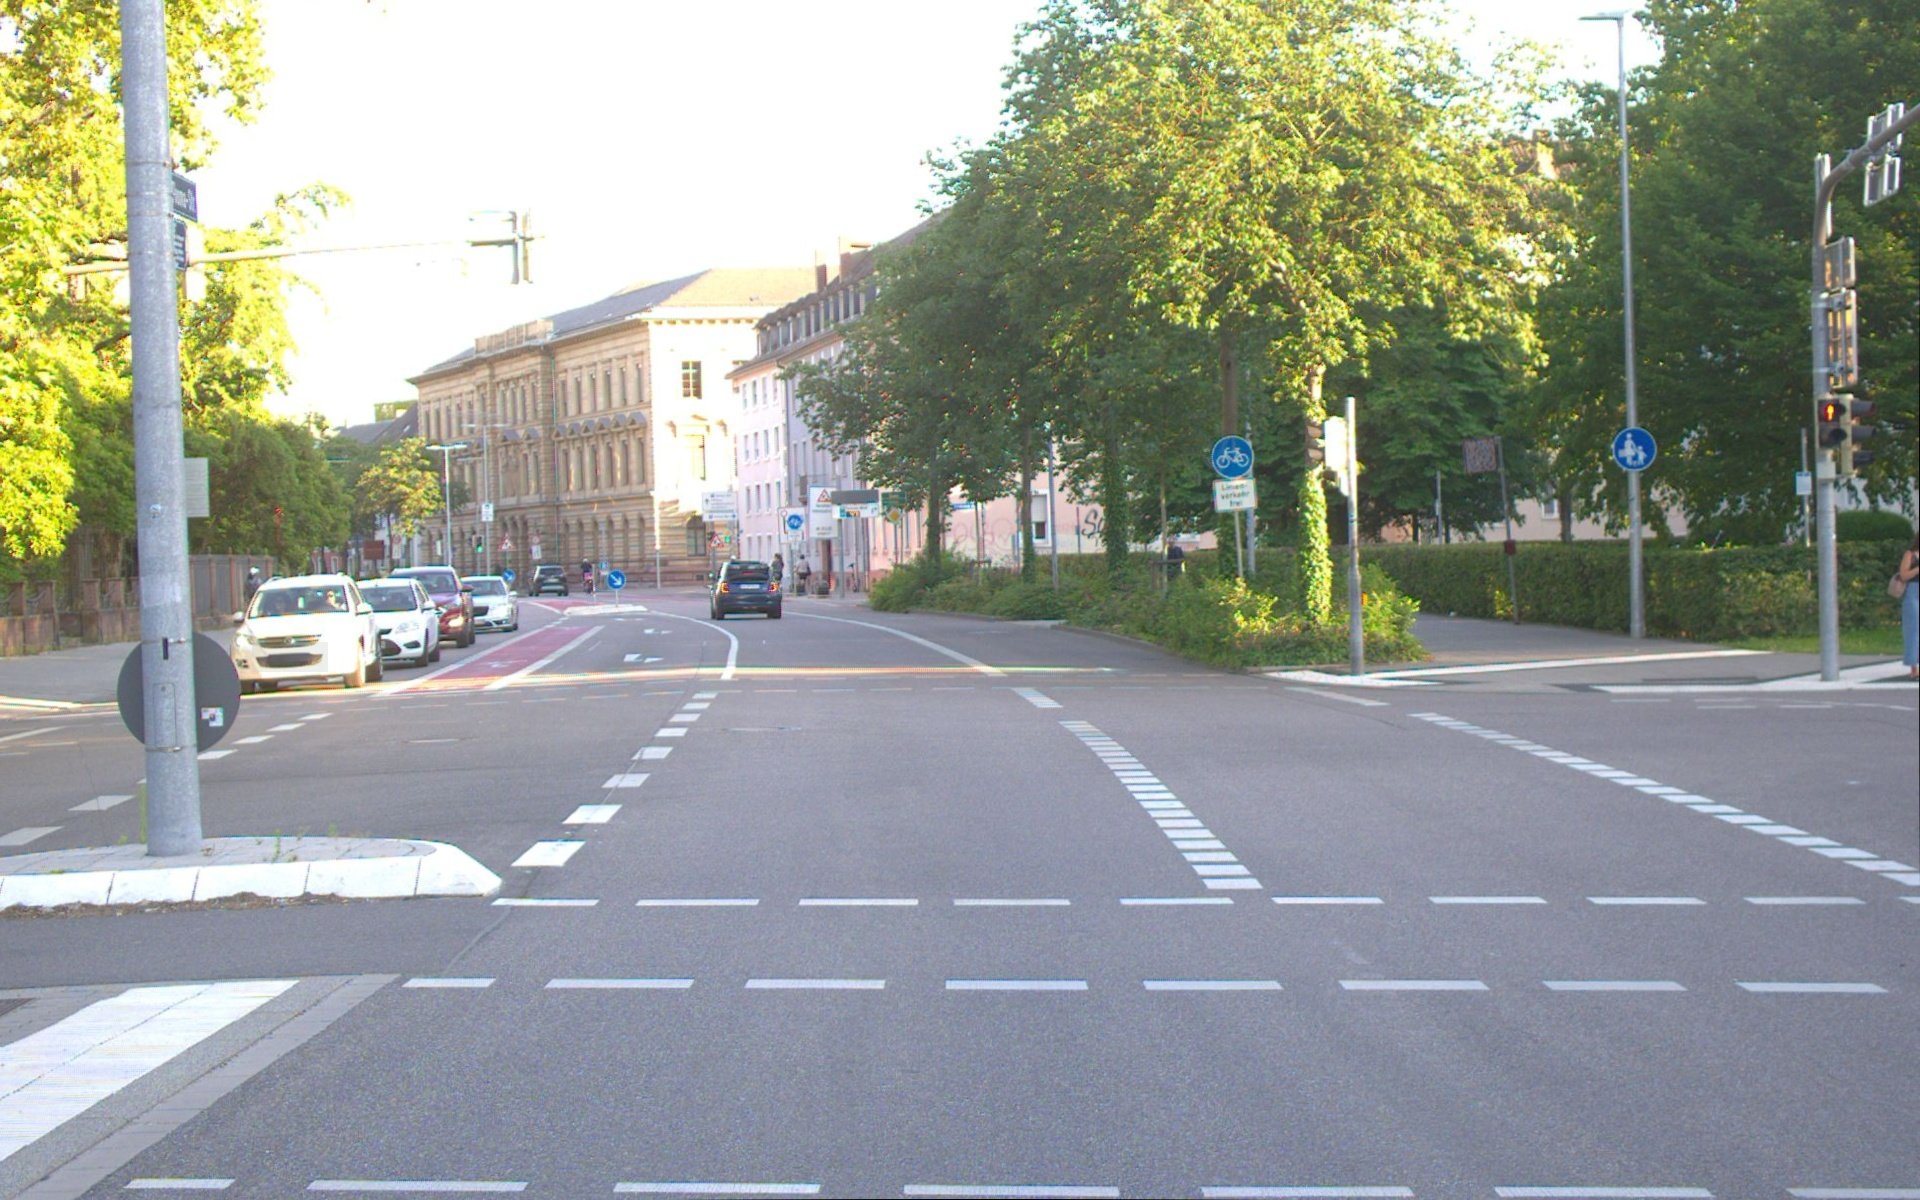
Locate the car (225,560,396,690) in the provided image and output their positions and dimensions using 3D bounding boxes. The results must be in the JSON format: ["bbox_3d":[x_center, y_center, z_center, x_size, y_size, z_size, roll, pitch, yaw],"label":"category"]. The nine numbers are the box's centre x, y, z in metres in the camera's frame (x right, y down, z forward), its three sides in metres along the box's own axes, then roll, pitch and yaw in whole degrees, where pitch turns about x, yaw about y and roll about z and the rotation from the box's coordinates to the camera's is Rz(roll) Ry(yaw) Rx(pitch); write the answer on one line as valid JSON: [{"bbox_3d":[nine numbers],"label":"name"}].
[{"bbox_3d":[-9.460,0.324,50.385,1.916,1.690,4.427,-3,1,-5],"label":"car"}]

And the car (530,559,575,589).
[{"bbox_3d":[-20.993,-1.327,176.884,1.916,1.413,4.771,-4,1,-10],"label":"car"}]

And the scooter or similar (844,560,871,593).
[{"bbox_3d":[-4.337,-0.990,145.353,0.629,1.332,2.401,-1,1,-14],"label":"scooter or similar"}]

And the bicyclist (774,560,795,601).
[{"bbox_3d":[-6.311,-0.715,123.690,0.652,1.470,0.941,1,0,-9],"label":"bicyclist"}]

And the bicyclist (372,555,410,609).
[{"bbox_3d":[-15.435,-0.498,93.310,0.855,1.426,0.943,-1,1,0],"label":"bicyclist"}]

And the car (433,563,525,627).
[{"bbox_3d":[-11.951,-0.142,85.574,1.916,1.413,4.771,-3,1,-5],"label":"car"}]

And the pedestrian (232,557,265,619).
[{"bbox_3d":[-18.810,-0.327,90.898,0.681,1.617,0.688,-2,1,-1],"label":"pedestrian"}]

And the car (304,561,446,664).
[{"bbox_3d":[-10.000,0.183,59.079,1.916,1.578,4.675,-3,1,-5],"label":"car"}]

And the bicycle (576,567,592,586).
[{"bbox_3d":[-20.057,-1.271,183.438,0.652,1.012,2.198,1,1,-11],"label":"bicycle"}]

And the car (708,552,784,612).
[{"bbox_3d":[-5.545,-0.465,89.433,1.867,1.505,4.000,-1,0,-3],"label":"car"}]

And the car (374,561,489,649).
[{"bbox_3d":[-10.779,0.080,70.429,1.916,1.619,4.640,-3,1,-5],"label":"car"}]

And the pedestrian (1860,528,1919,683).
[{"bbox_3d":[10.122,0.051,36.865,0.681,1.616,0.845,-2,1,-1],"label":"pedestrian"}]

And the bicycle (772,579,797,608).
[{"bbox_3d":[-6.316,-0.233,123.695,0.652,1.012,2.198,1,1,-9],"label":"bicycle"}]

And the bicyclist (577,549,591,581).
[{"bbox_3d":[-20.055,-1.882,183.464,0.652,1.692,0.957,1,0,-11],"label":"bicyclist"}]

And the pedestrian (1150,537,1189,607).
[{"bbox_3d":[5.266,-0.716,86.620,0.769,1.733,0.807,-2,1,-10],"label":"pedestrian"}]
